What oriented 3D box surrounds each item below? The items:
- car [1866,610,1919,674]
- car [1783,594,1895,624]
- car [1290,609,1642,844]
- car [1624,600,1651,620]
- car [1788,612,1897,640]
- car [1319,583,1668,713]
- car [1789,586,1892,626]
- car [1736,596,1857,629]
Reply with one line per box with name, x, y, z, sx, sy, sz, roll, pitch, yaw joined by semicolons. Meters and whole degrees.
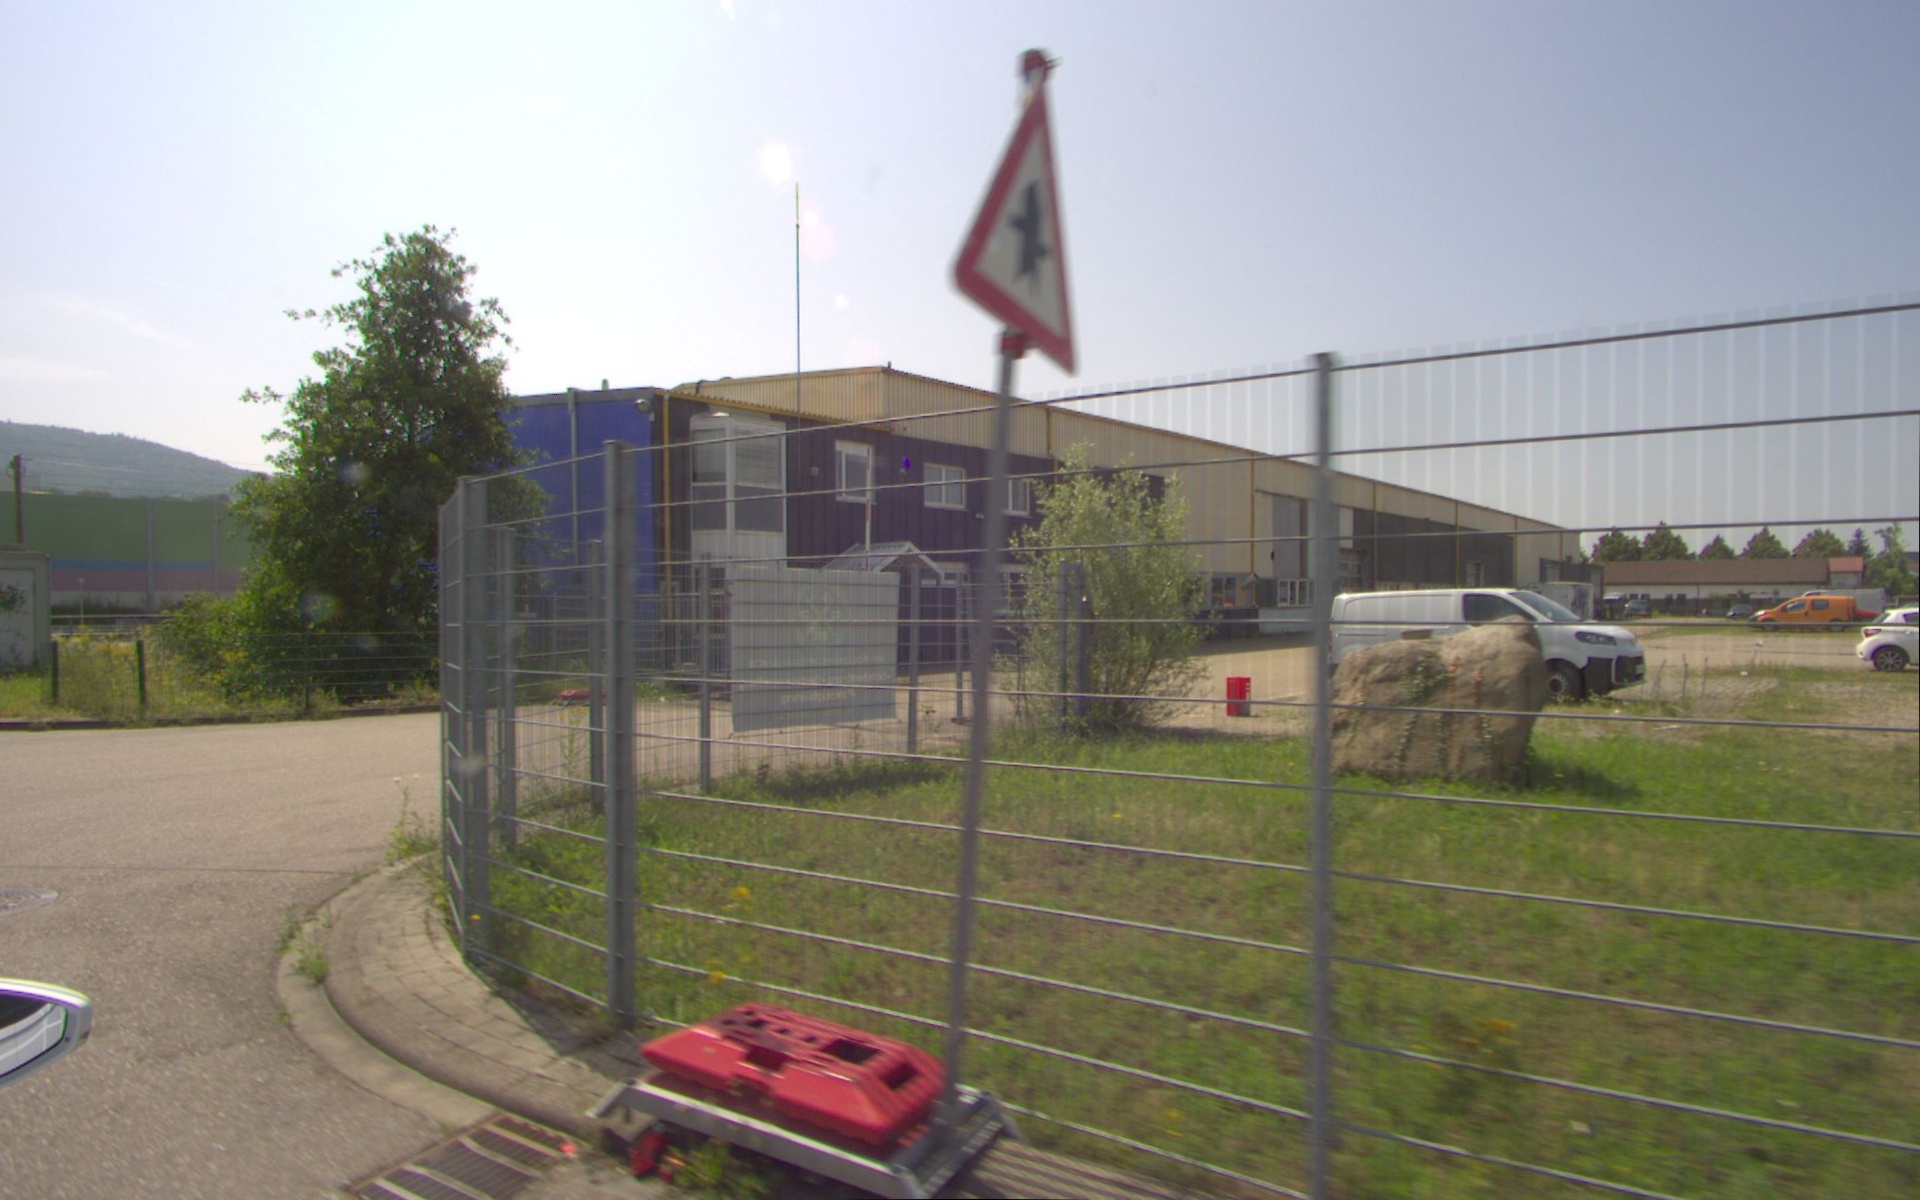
car;23.081;0.965;22.759;3.629;1.455;1.521;-1;0;45
car;46.796;0.448;53.358;1.955;1.505;4.344;1;0;-45
car;3.686;0.737;7.796;1.874;1.294;3.919;0;0;22
car;68.588;0.998;101.372;1.911;1.906;4.036;0;0;40
car;48.717;1.409;55.316;1.823;1.396;4.348;1;0;-42
car;8.986;0.729;17.286;1.838;1.924;5.031;-1;0;-41
car;50.582;0.308;57.580;1.955;2.200;4.344;1;0;-45
car;40.330;0.578;48.319;1.737;1.505;4.344;1;0;-45
